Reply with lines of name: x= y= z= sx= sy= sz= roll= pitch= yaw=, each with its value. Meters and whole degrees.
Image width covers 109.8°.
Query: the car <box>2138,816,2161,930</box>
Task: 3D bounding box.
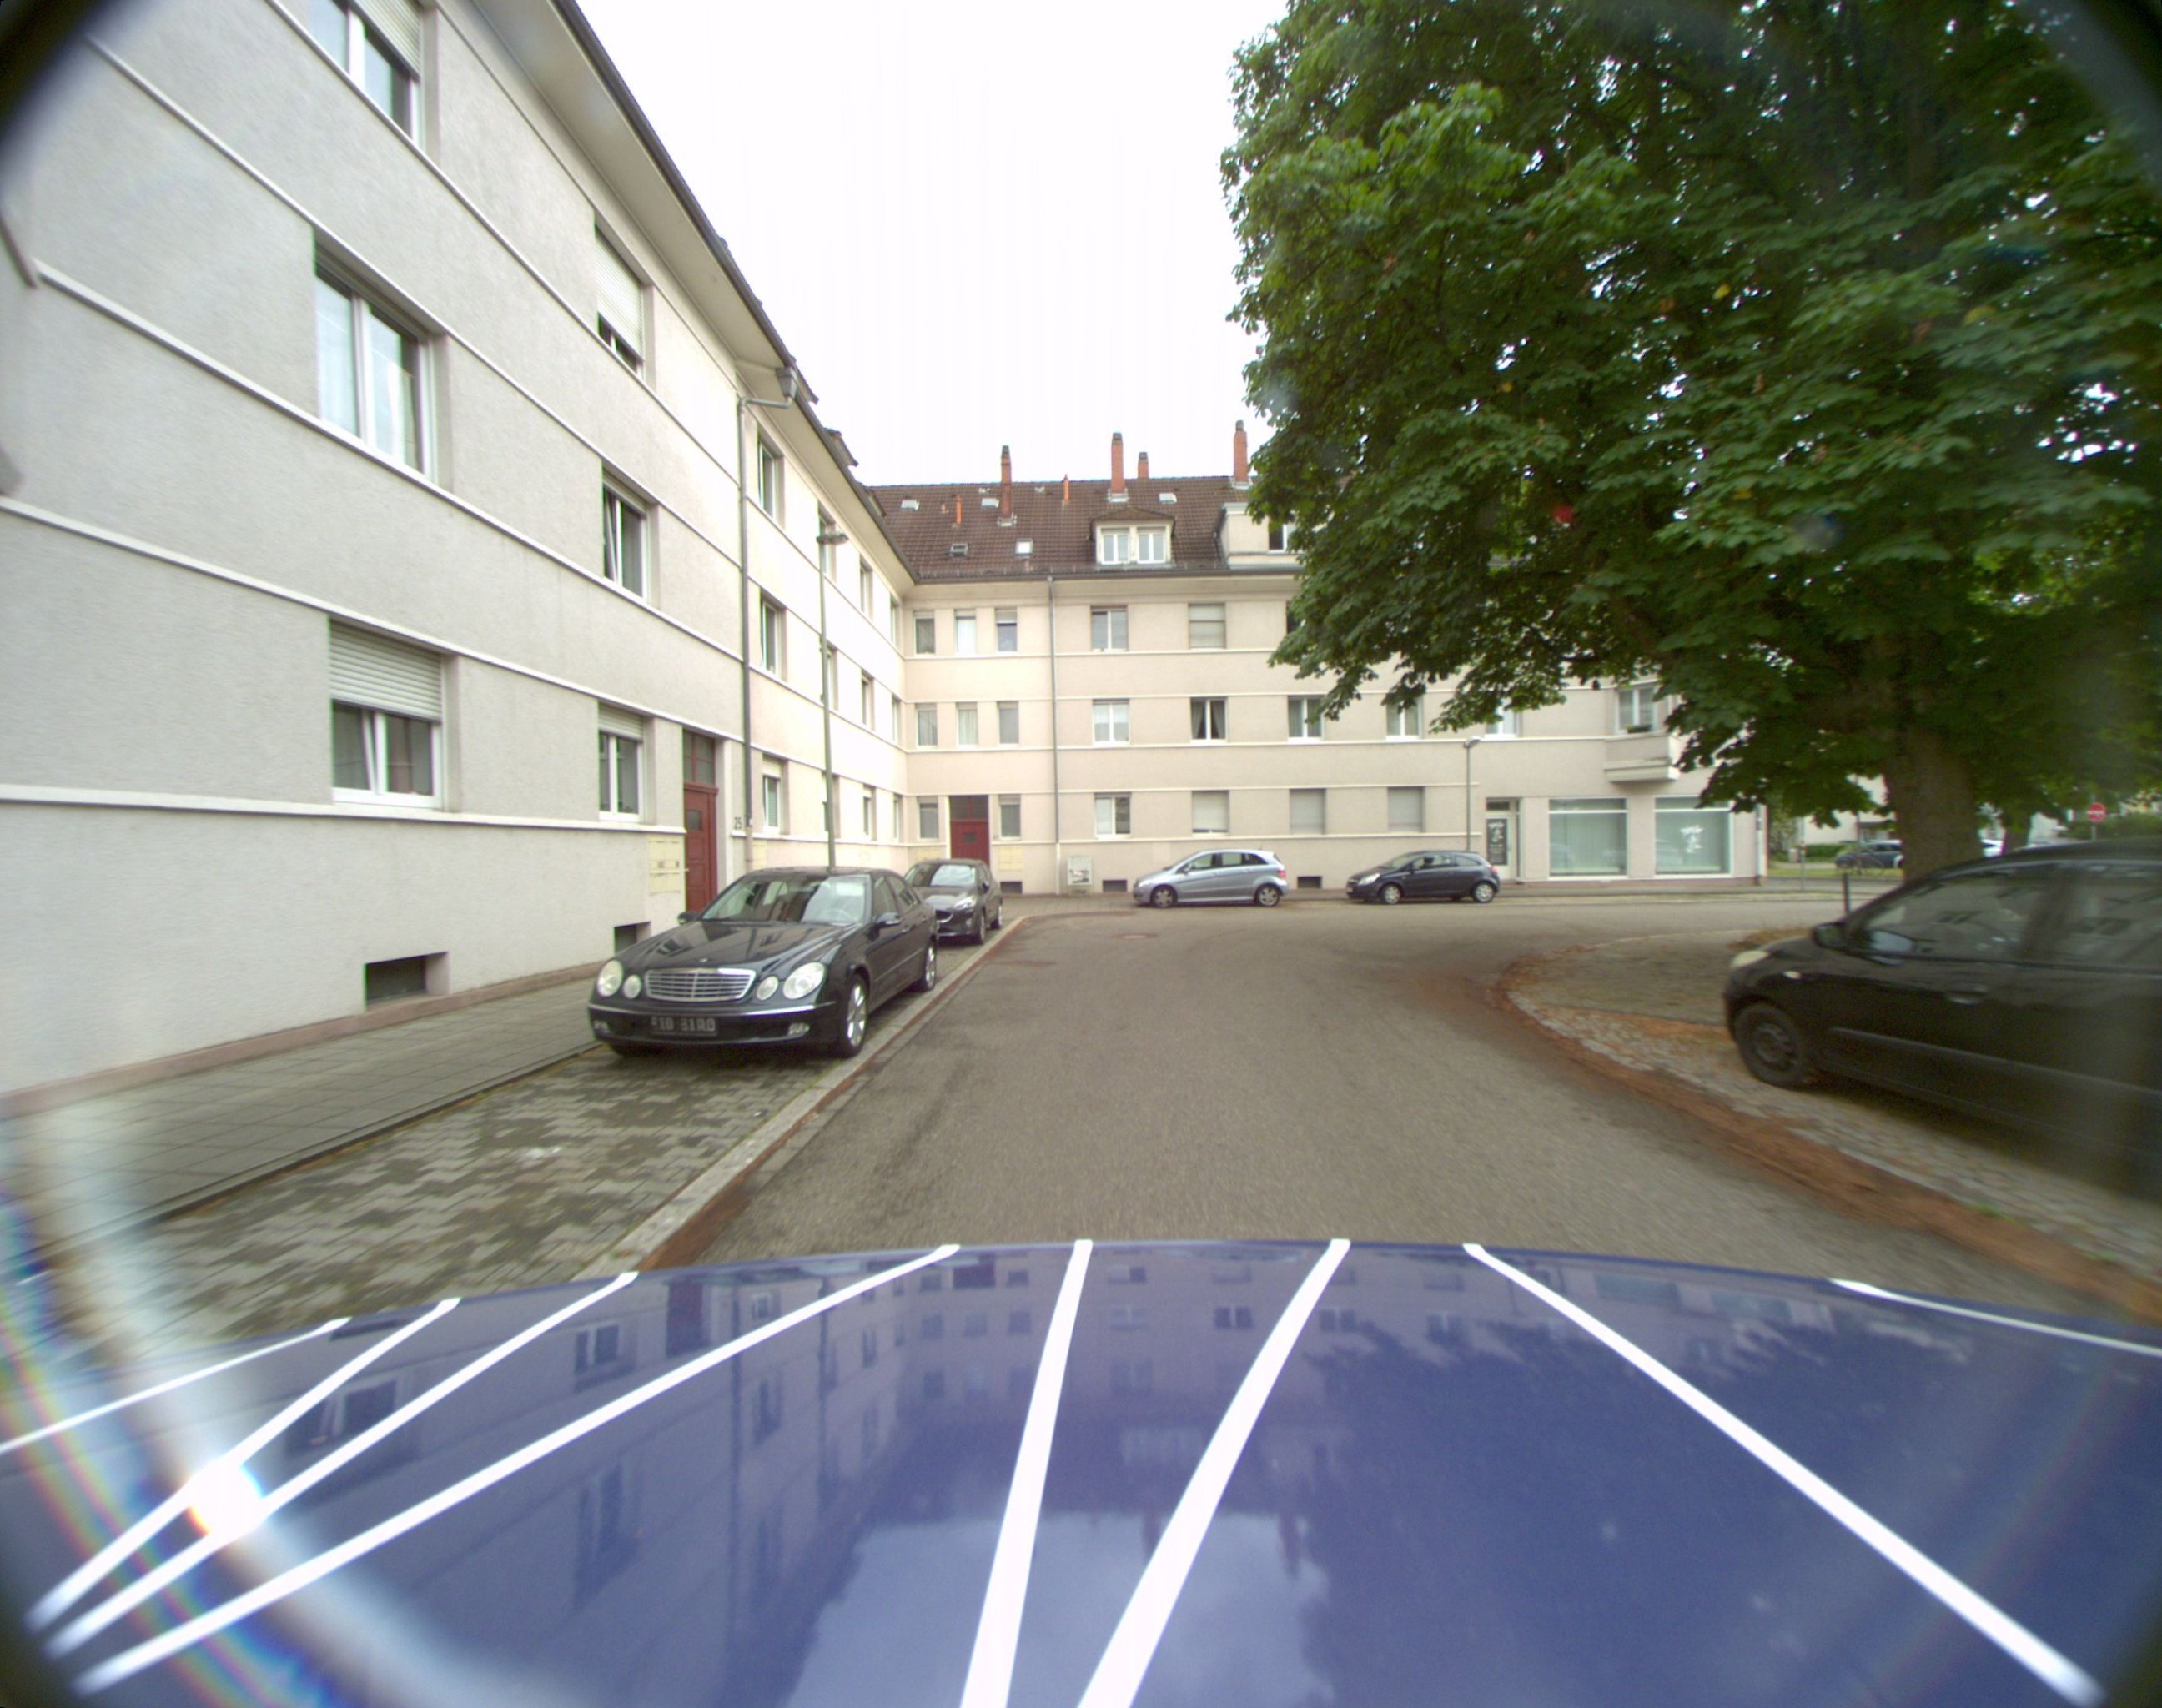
car: x=16.807 y=0.235 z=9.399 sx=1.914 sy=1.687 sz=4.071 roll=-1 pitch=-1 yaw=5

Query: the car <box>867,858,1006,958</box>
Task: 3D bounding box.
car: x=-2.491 y=0.868 z=14.066 sx=1.761 sy=1.516 sz=4.078 roll=0 pitch=1 yaw=0

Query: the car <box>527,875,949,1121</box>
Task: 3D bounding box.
car: x=-2.576 y=0.973 z=7.228 sx=1.749 sy=1.412 sz=4.950 roll=0 pitch=0 yaw=0

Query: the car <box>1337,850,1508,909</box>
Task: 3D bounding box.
car: x=9.393 y=0.681 z=21.118 sx=3.933 sy=1.481 sz=1.763 roll=-2 pitch=0 yaw=2

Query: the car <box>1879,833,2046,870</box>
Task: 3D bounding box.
car: x=40.499 y=-0.128 z=35.137 sx=1.902 sy=1.557 sz=4.882 roll=-1 pitch=0 yaw=-4

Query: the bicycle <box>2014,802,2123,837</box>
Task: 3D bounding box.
bicycle: x=31.848 y=-1.092 z=24.561 sx=0.512 sy=0.980 sz=2.181 roll=-4 pitch=0 yaw=-6

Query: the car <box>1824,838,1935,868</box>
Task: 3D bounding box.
car: x=45.398 y=-0.038 z=43.336 sx=1.704 sy=1.557 sz=4.208 roll=-3 pitch=0 yaw=-5

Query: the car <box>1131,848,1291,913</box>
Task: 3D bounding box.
car: x=3.530 y=0.718 z=21.192 sx=4.195 sy=1.618 sz=1.763 roll=-2 pitch=0 yaw=4

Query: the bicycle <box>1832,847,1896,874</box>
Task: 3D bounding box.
bicycle: x=32.214 y=0.274 z=31.292 sx=0.667 sy=1.060 sz=1.885 roll=-1 pitch=0 yaw=-2

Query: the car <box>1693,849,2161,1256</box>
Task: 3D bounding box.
car: x=4.938 y=0.765 z=3.460 sx=1.528 sy=1.485 sz=3.592 roll=-4 pitch=0 yaw=4

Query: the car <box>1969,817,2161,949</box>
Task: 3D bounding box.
car: x=13.715 y=0.333 z=9.089 sx=1.829 sy=1.568 sz=3.843 roll=-1 pitch=0 yaw=4
